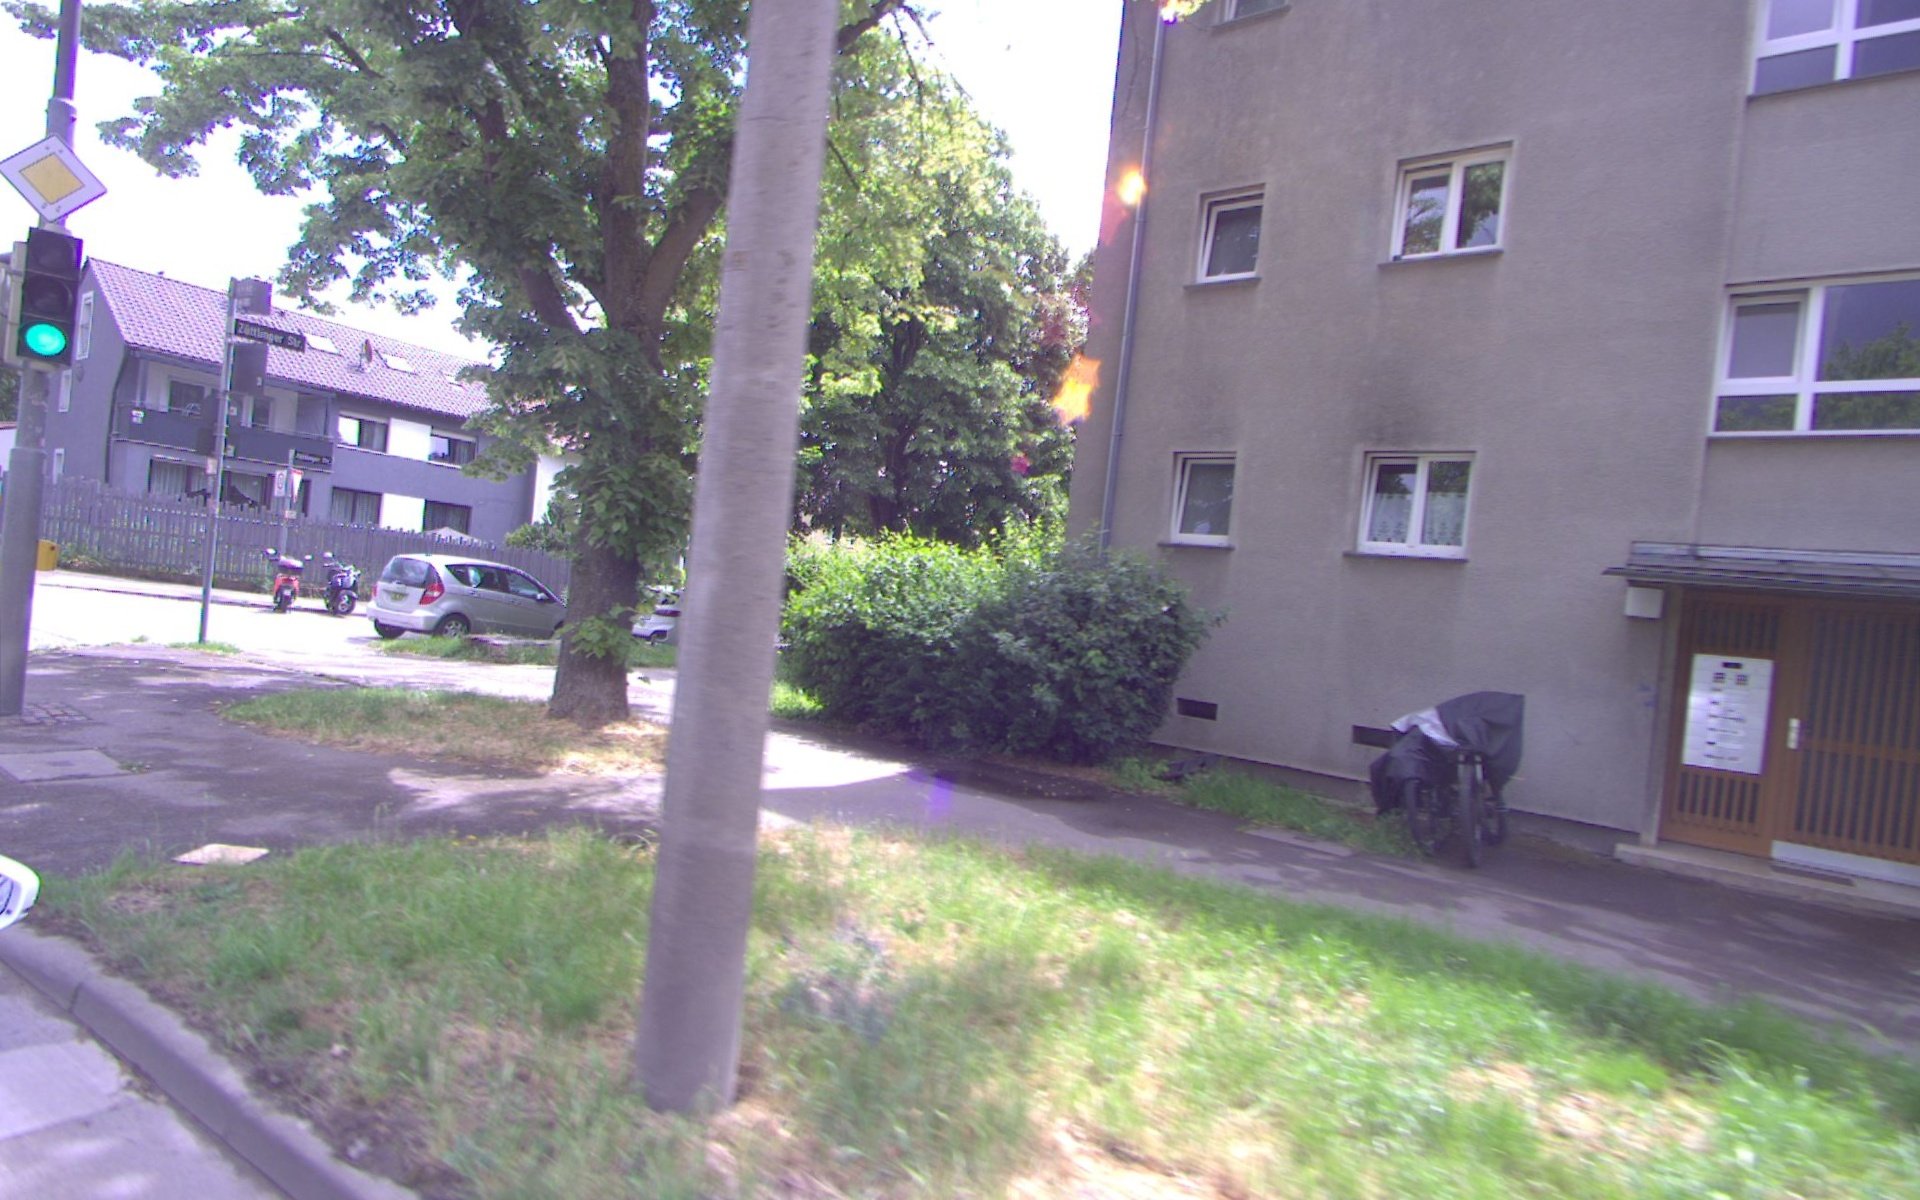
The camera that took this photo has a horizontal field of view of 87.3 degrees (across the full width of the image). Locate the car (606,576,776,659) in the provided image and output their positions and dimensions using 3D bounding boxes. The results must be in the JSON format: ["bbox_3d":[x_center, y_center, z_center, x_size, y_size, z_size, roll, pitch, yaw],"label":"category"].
[{"bbox_3d":[-6.421,0.491,24.496,1.750,1.582,4.017,8,0,23],"label":"car"}]

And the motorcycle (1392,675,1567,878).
[{"bbox_3d":[4.120,1.298,7.876,0.670,1.298,2.202,6,0,39],"label":"motorcycle"}]

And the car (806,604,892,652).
[{"bbox_3d":[-4.619,1.228,42.329,1.710,1.659,3.958,6,-1,24],"label":"car"}]

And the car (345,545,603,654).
[{"bbox_3d":[-9.011,0.068,19.035,1.904,1.572,4.000,7,-1,23],"label":"car"}]

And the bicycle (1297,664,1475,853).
[{"bbox_3d":[3.584,1.247,8.330,0.670,1.298,2.165,6,0,39],"label":"bicycle"}]

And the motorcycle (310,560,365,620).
[{"bbox_3d":[-13.798,-0.231,22.270,0.656,1.162,1.971,8,-2,-40],"label":"motorcycle"}]

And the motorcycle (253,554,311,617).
[{"bbox_3d":[-14.315,-0.323,21.213,0.656,1.162,2.398,8,-2,-40],"label":"motorcycle"}]
